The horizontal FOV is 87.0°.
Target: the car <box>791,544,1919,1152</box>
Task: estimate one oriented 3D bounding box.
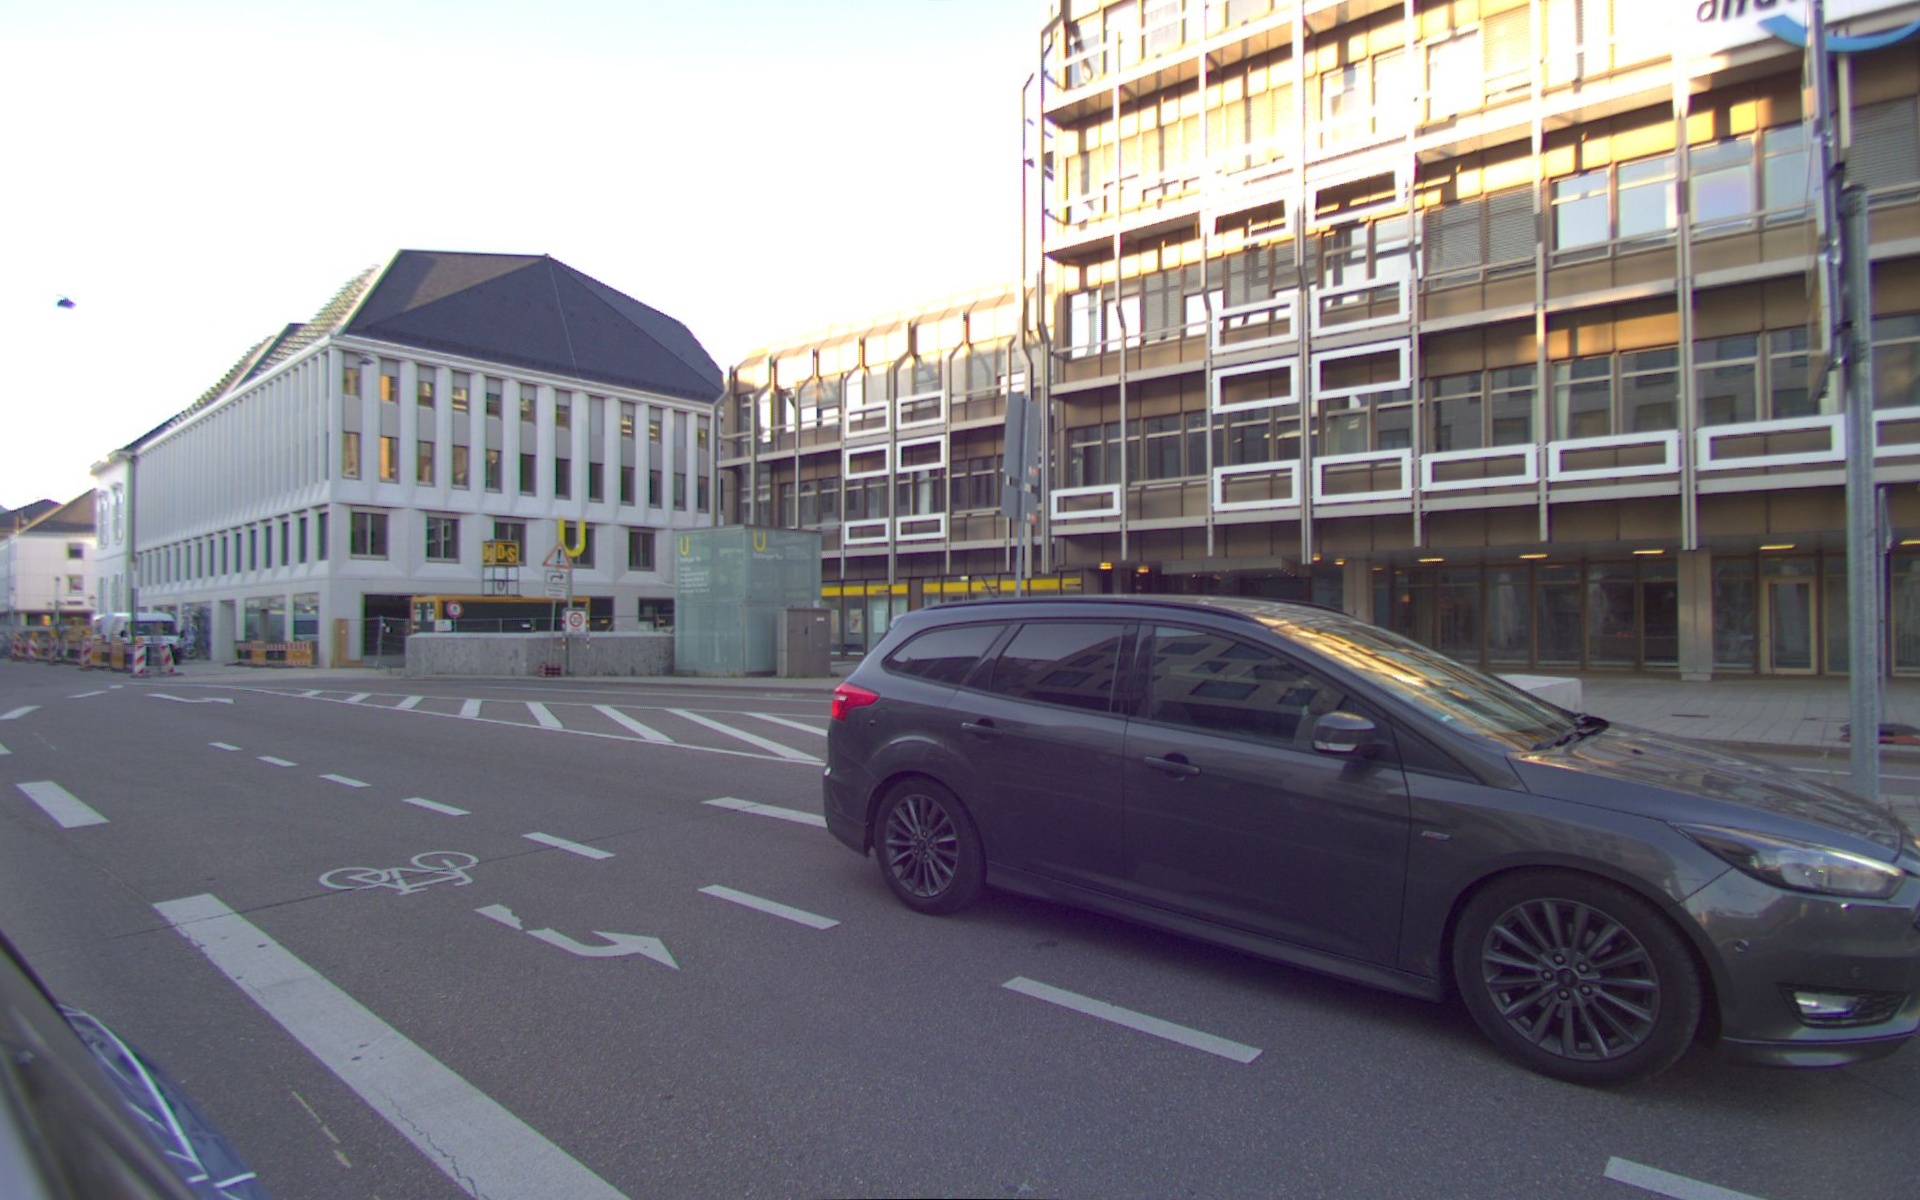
[{"bbox_3d":[1.372,0.646,4.410,4.377,1.473,1.740,-2,-1,40],"label":"car"}]

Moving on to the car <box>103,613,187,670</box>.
[{"bbox_3d":[-38.837,1.956,48.164,6.047,2.575,2.114,-2,-3,41],"label":"car"}]
